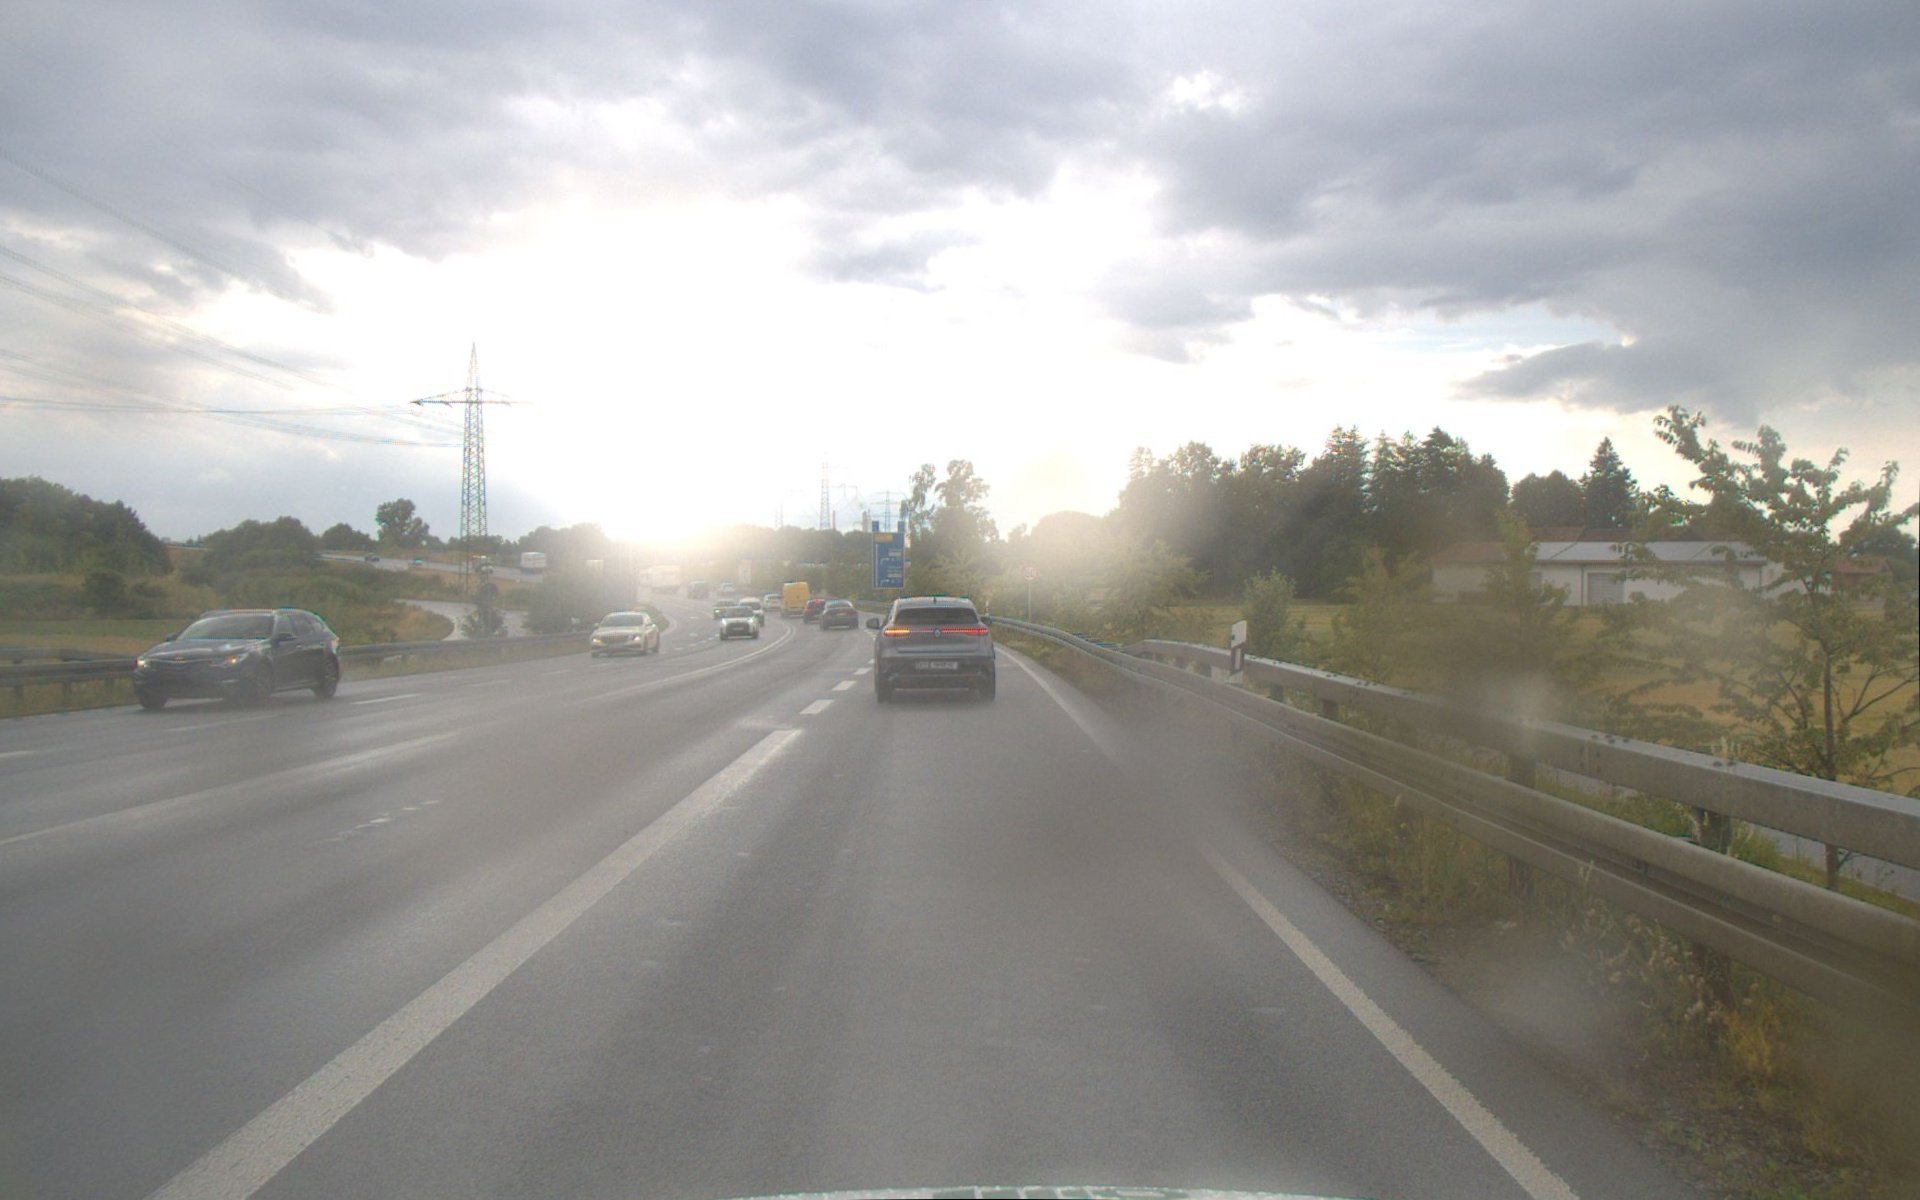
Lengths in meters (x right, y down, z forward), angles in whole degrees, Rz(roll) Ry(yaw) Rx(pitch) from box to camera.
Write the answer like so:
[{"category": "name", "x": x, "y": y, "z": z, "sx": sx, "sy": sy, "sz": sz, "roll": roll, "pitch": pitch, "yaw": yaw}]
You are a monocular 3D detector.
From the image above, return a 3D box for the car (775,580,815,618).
[{"category": "car", "x": -12.559, "y": -0.068, "z": 125.126, "sx": 2.526, "sy": 2.773, "sz": 7.180, "roll": 1, "pitch": 0, "yaw": -9}]

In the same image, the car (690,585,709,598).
[{"category": "car", "x": -31.474, "y": -0.988, "z": 199.902, "sx": 1.763, "sy": 1.466, "sz": 3.981, "roll": 2, "pitch": 0, "yaw": -17}]

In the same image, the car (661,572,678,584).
[{"category": "car", "x": -38.600, "y": -2.898, "z": 219.748, "sx": 1.763, "sy": 1.466, "sz": 3.982, "roll": 1, "pitch": 1, "yaw": -17}]

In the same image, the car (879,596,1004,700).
[{"category": "car", "x": -0.306, "y": 0.688, "z": 25.405, "sx": 1.755, "sy": 1.466, "sz": 3.999, "roll": 0, "pitch": 0, "yaw": -1}]

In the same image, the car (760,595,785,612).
[{"category": "car", "x": -16.635, "y": 0.295, "z": 146.468, "sx": 1.760, "sy": 1.466, "sz": 3.988, "roll": 1, "pitch": 0, "yaw": -12}]

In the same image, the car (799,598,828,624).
[{"category": "car", "x": -9.290, "y": 0.712, "z": 105.254, "sx": 1.756, "sy": 1.568, "sz": 3.996, "roll": 1, "pitch": 0, "yaw": -5}]

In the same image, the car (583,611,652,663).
[{"category": "car", "x": -11.651, "y": 1.248, "z": 56.529, "sx": 1.906, "sy": 1.689, "sz": 4.639, "roll": 1, "pitch": -1, "yaw": -7}]

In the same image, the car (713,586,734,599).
[{"category": "car", "x": -29.100, "y": -0.906, "z": 203.369, "sx": 1.764, "sy": 1.466, "sz": 3.978, "roll": 2, "pitch": 0, "yaw": -19}]

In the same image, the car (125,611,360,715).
[{"category": "car", "x": -11.332, "y": 0.936, "z": 26.522, "sx": 1.734, "sy": 1.451, "sz": 4.733, "roll": 1, "pitch": 0, "yaw": -1}]

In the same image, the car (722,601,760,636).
[{"category": "car", "x": -10.255, "y": 0.854, "z": 77.511, "sx": 1.733, "sy": 1.526, "sz": 4.203, "roll": -1, "pitch": 0, "yaw": -7}]

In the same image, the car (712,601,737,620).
[{"category": "car", "x": -18.540, "y": 0.849, "z": 130.150, "sx": 1.860, "sy": 1.466, "sz": 4.891, "roll": -1, "pitch": 0, "yaw": -8}]

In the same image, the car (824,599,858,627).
[{"category": "car", "x": -6.331, "y": 0.670, "z": 88.172, "sx": 1.756, "sy": 1.466, "sz": 3.997, "roll": 0, "pitch": 0, "yaw": -3}]
